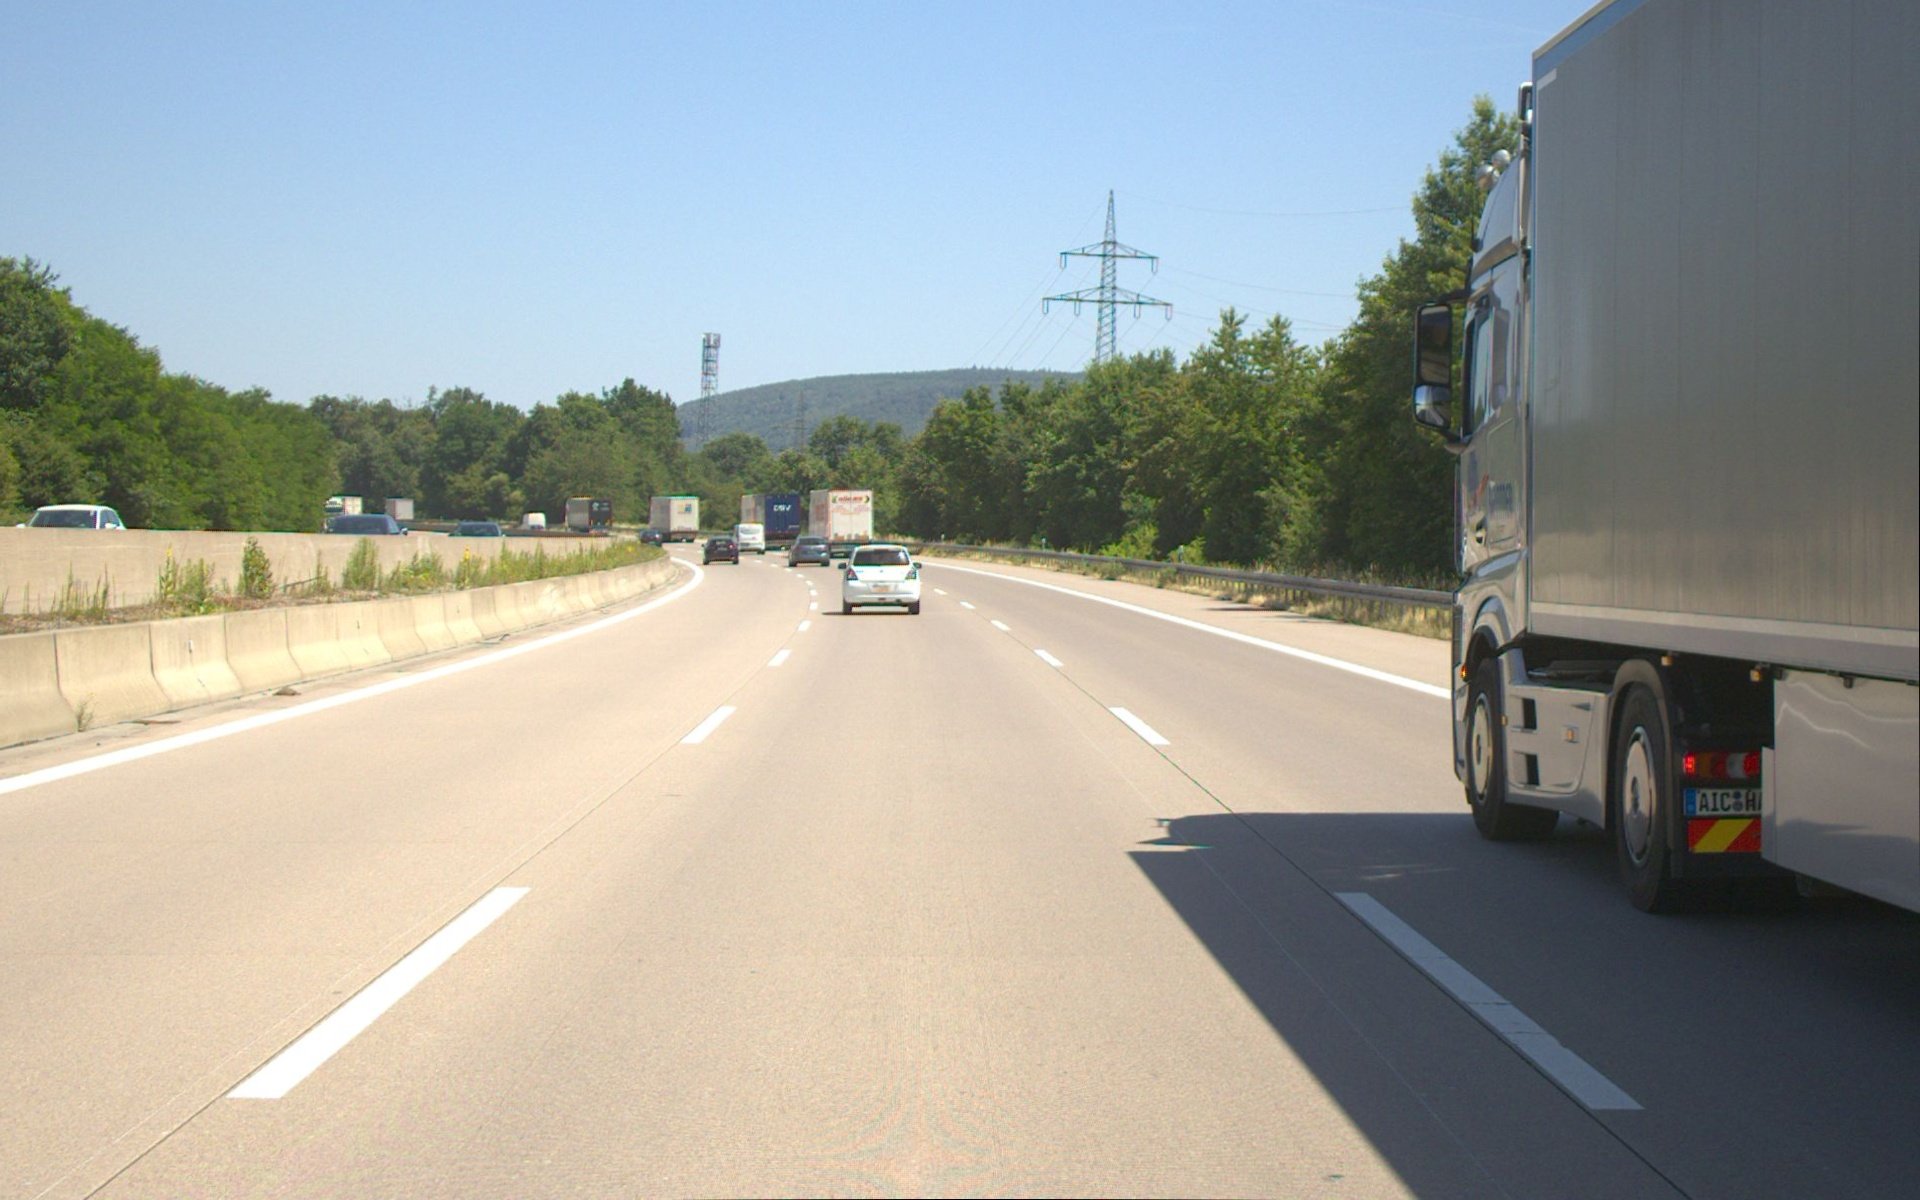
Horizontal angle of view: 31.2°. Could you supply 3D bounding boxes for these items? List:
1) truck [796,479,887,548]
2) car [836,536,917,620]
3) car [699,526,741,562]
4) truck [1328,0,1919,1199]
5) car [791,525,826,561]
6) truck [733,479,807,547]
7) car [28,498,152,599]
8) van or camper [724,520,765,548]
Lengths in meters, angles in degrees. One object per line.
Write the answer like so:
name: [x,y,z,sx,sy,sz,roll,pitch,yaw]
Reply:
truck: [-7.080,-5.080,202.905,3.819,3.876,14.157,-1,1,-8]
car: [-1.832,-0.505,75.805,1.641,1.656,3.360,4,1,-1]
car: [-12.592,-2.946,180.557,2.022,1.695,4.001,5,1,-3]
truck: [4.443,-1.229,12.027,3.577,5.767,18.249,3,1,-2]
car: [-7.336,-2.765,166.480,1.610,1.719,3.574,-1,1,-3]
truck: [-13.854,-6.262,249.364,3.906,4.725,14.054,-1,1,-9]
car: [-18.030,-1.074,71.403,1.634,2.007,4.103,0,1,-1]
van or camper: [-14.127,-4.316,225.072,1.867,1.831,4.001,-1,1,-16]
